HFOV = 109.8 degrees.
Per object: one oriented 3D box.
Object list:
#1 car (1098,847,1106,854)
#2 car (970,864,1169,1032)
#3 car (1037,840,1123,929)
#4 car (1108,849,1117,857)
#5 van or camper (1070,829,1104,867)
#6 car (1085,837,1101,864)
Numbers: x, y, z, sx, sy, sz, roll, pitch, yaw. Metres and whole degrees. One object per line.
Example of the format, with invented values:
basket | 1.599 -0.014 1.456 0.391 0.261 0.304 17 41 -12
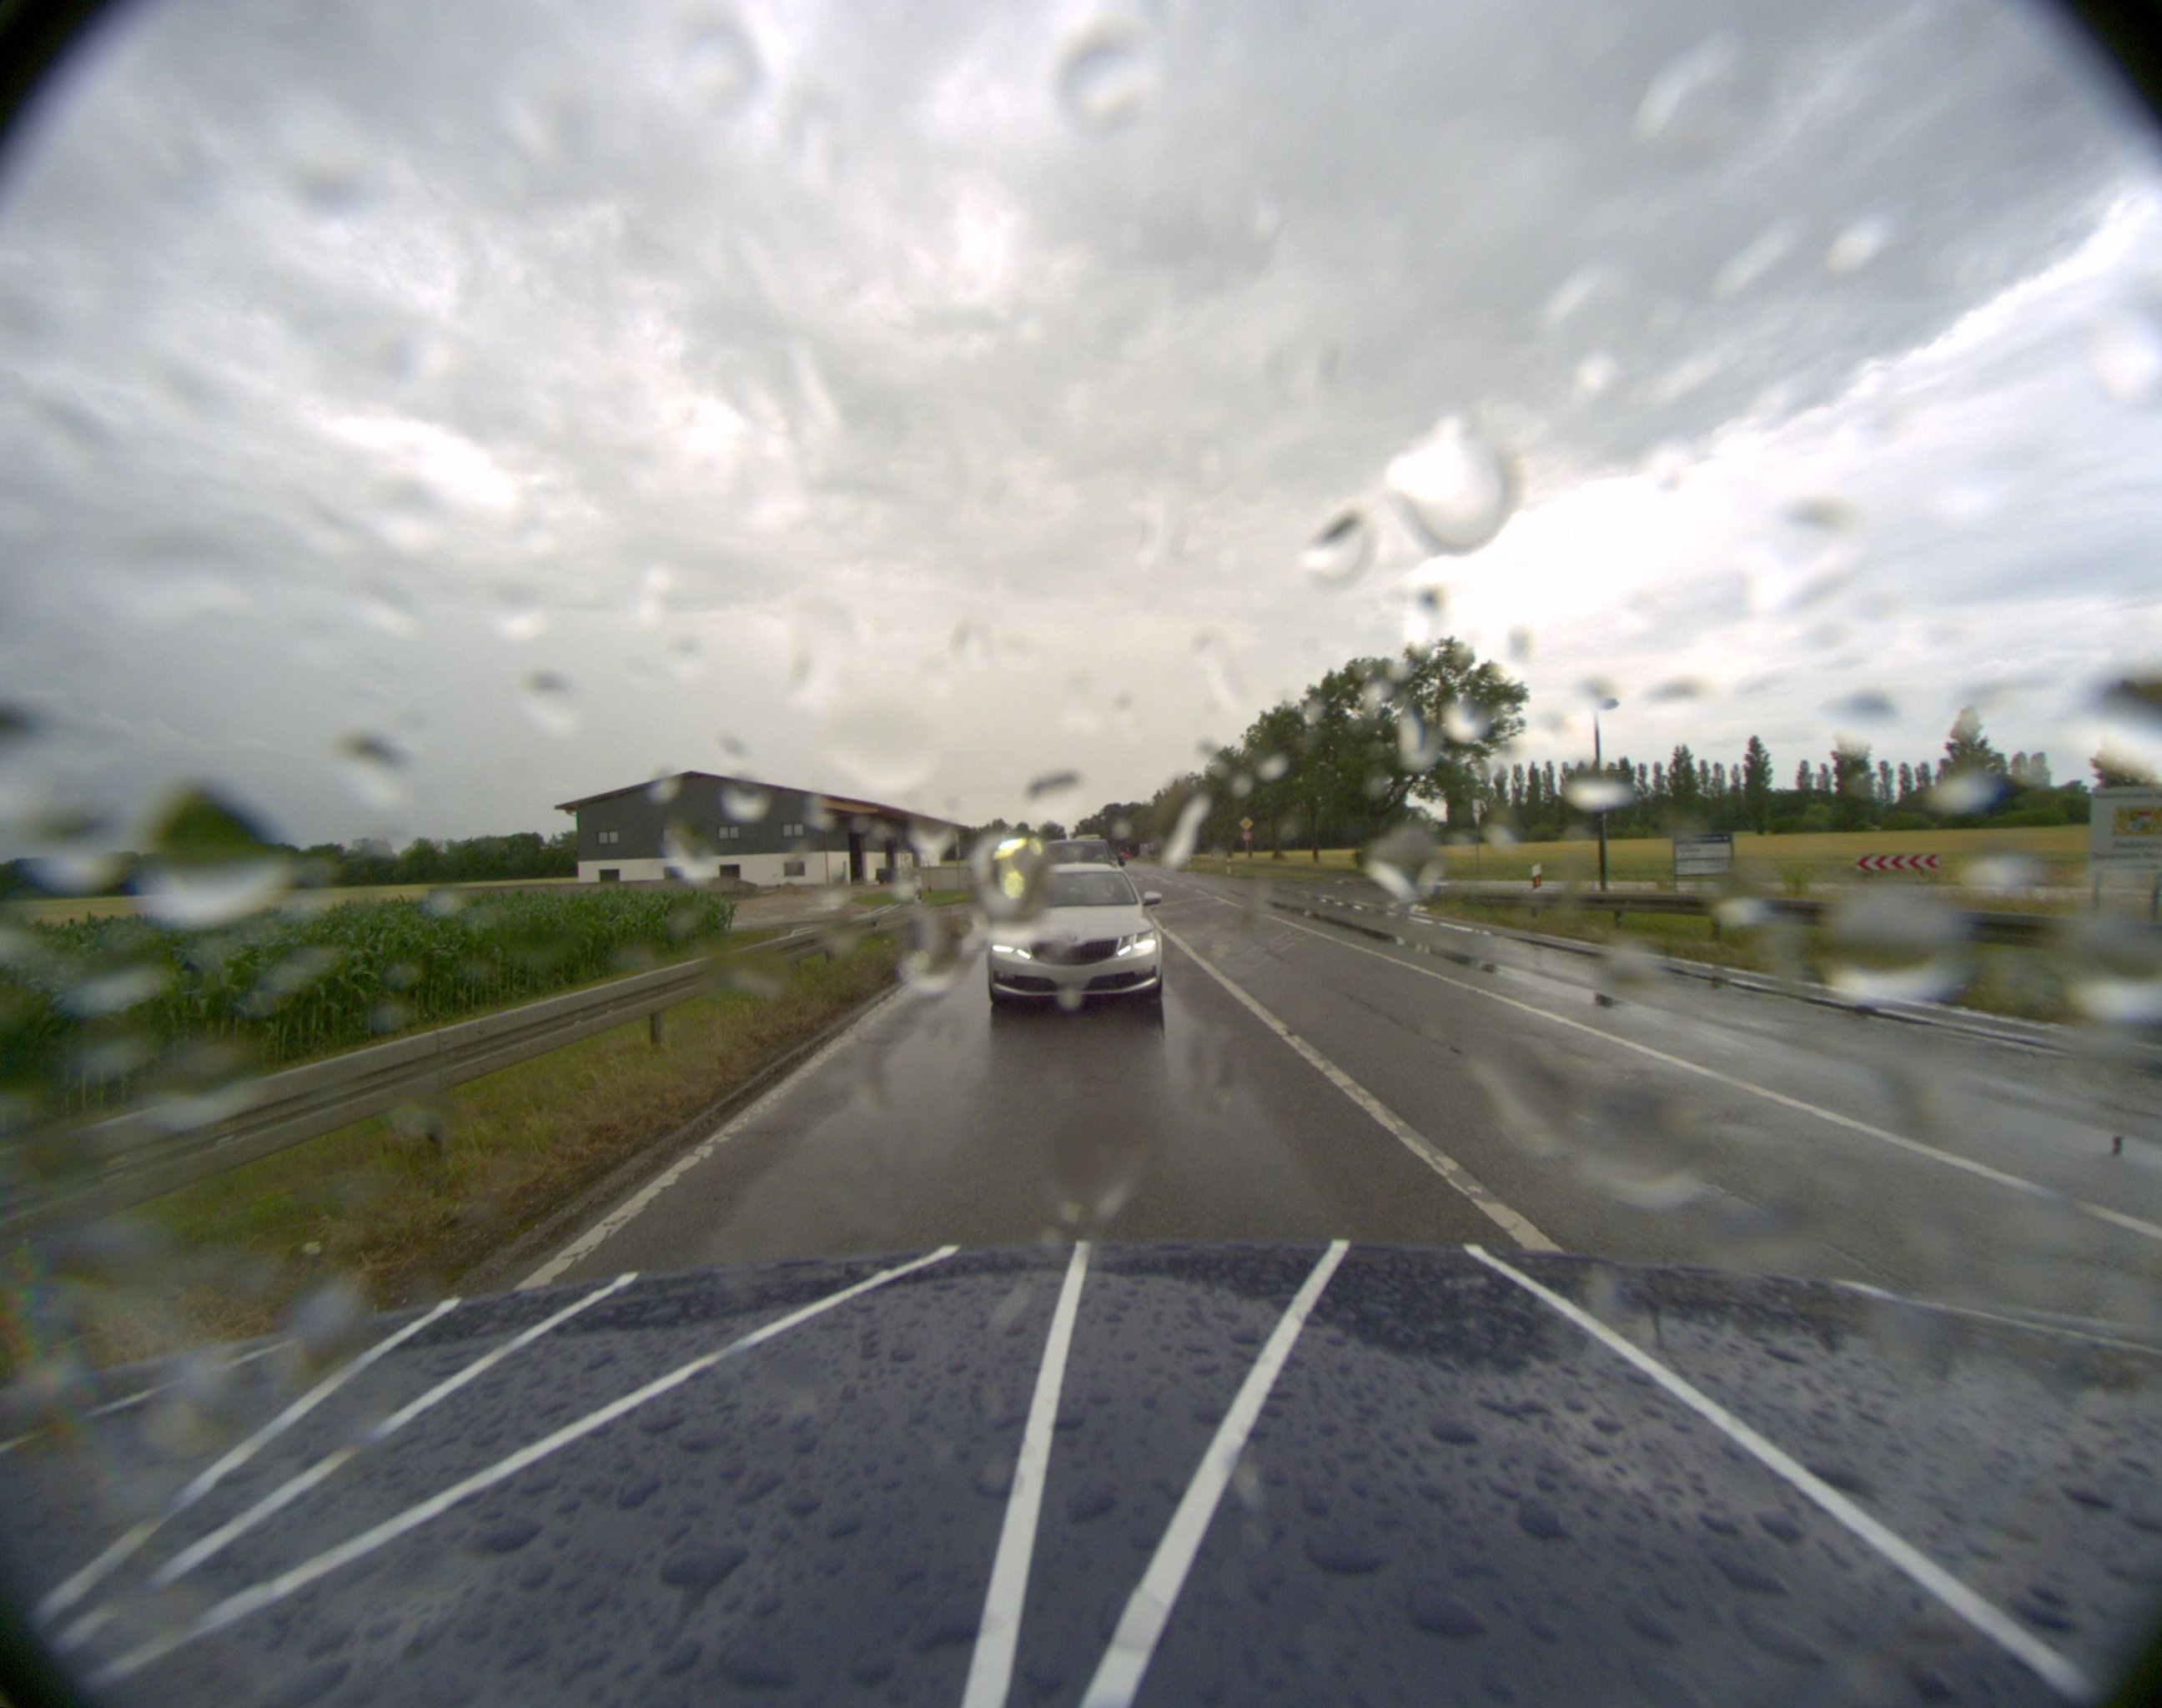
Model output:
car | 5.377 -0.921 192.829 1.949 1.571 4.443 -2 0 0
car | -0.057 0.894 9.242 1.770 1.365 4.575 -2 1 1
car | 0.026 0.651 19.082 1.841 1.888 4.575 -2 1 1
car | 6.861 -0.232 166.265 1.773 1.514 4.141 -1 0 1
van or camper | 0.684 -0.658 80.219 3.342 3.624 8.372 -2 1 1
car | 1.449 -0.432 91.279 1.771 3.134 4.027 -2 1 0
